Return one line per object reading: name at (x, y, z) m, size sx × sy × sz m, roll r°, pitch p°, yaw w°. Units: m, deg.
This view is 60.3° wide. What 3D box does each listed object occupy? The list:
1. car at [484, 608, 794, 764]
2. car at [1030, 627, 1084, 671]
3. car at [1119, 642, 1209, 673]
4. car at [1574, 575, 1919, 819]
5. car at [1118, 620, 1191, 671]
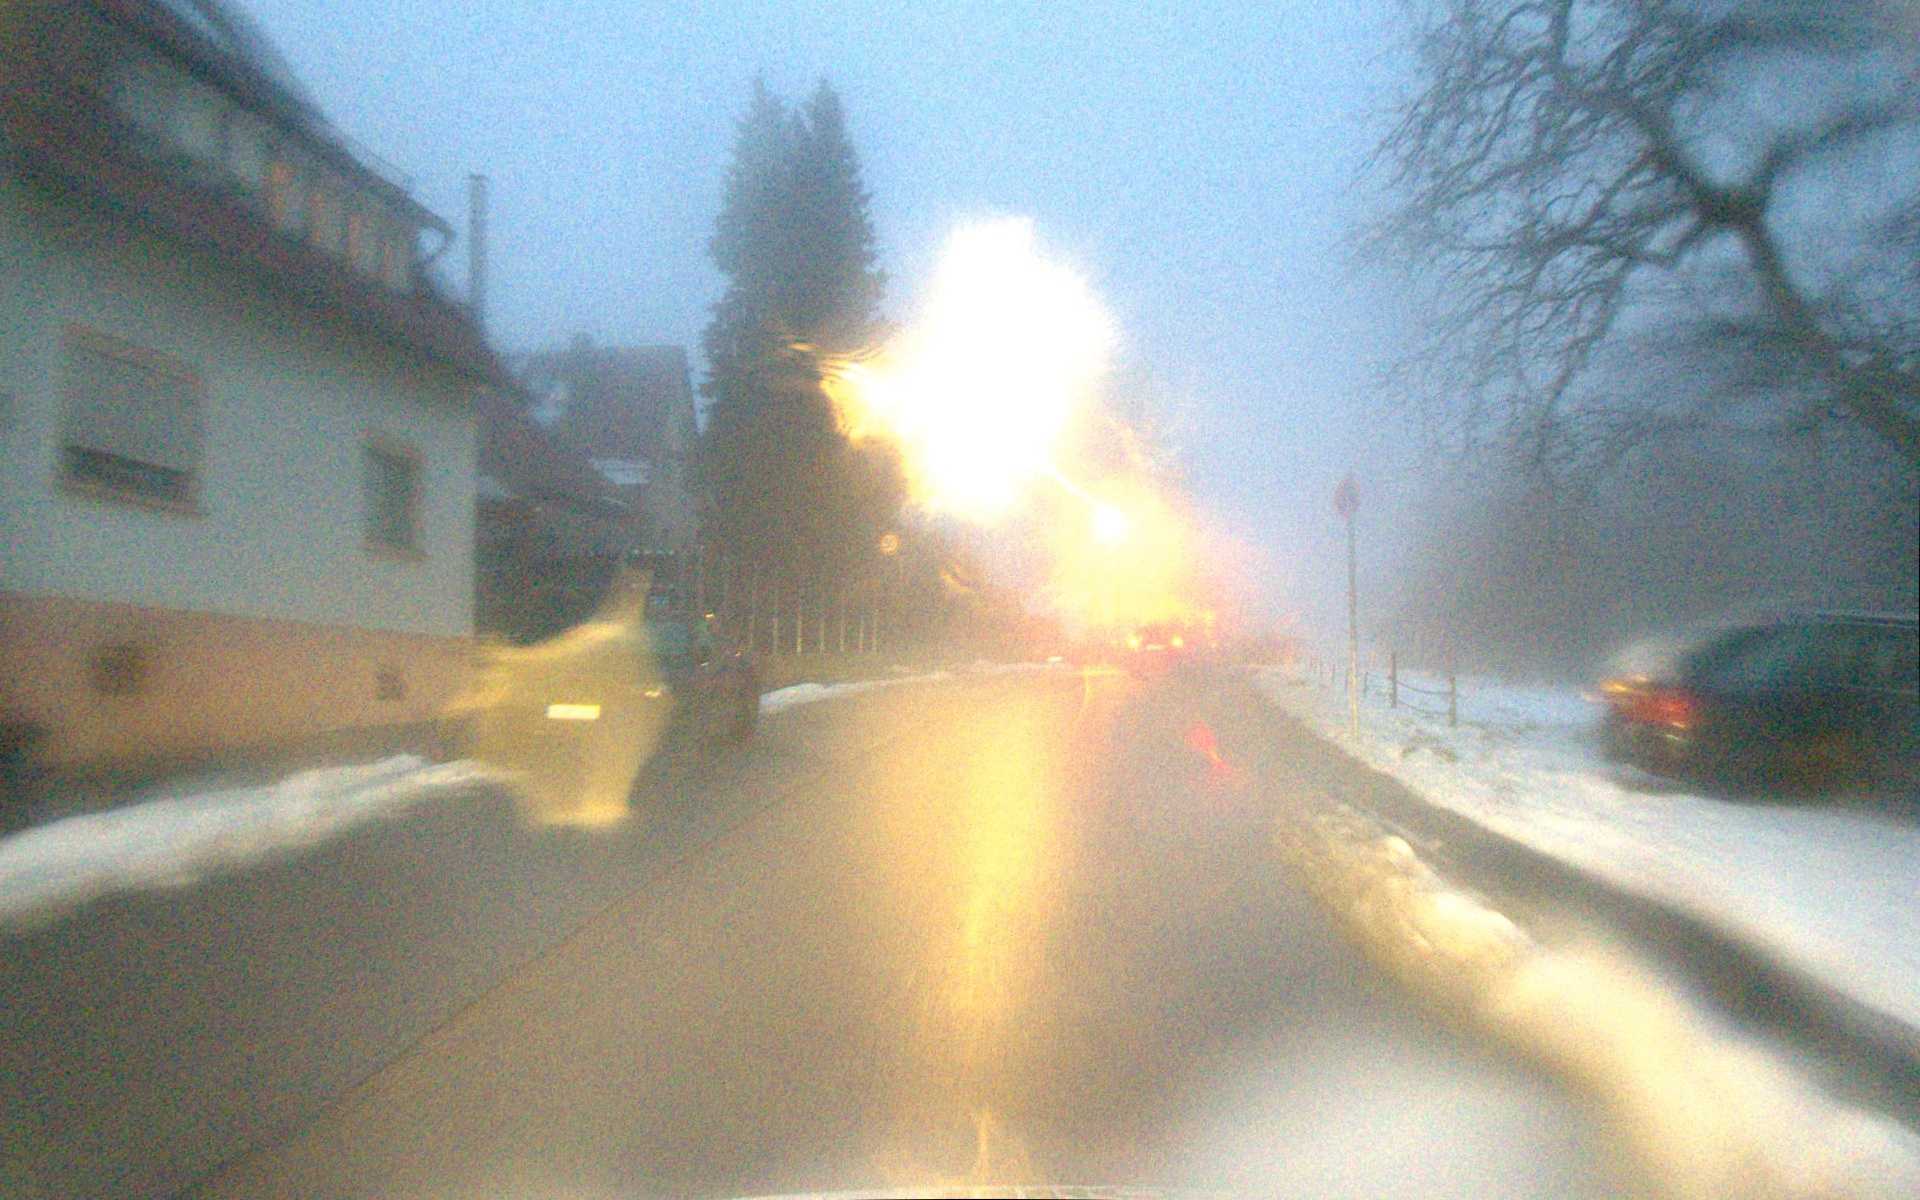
car at (-3.331, 0.832, 18.411) m, size 1.837 × 1.451 × 5.395 m, roll 1°, pitch 0°, yaw 6°
car at (4.115, 2.137, 70.939) m, size 1.953 × 1.594 × 4.996 m, roll -4°, pitch -4°, yaw 0°
car at (11.685, 3.302, 94.664) m, size 4.785 × 1.511 × 2.124 m, roll -4°, pitch -4°, yaw 18°
car at (6.699, 0.704, 11.194) m, size 4.356 × 1.406 × 2.037 m, roll 4°, pitch 0°, yaw 7°
car at (5.822, 1.342, 49.154) m, size 1.951 × 1.445 × 4.003 m, roll -1°, pitch -2°, yaw 10°
